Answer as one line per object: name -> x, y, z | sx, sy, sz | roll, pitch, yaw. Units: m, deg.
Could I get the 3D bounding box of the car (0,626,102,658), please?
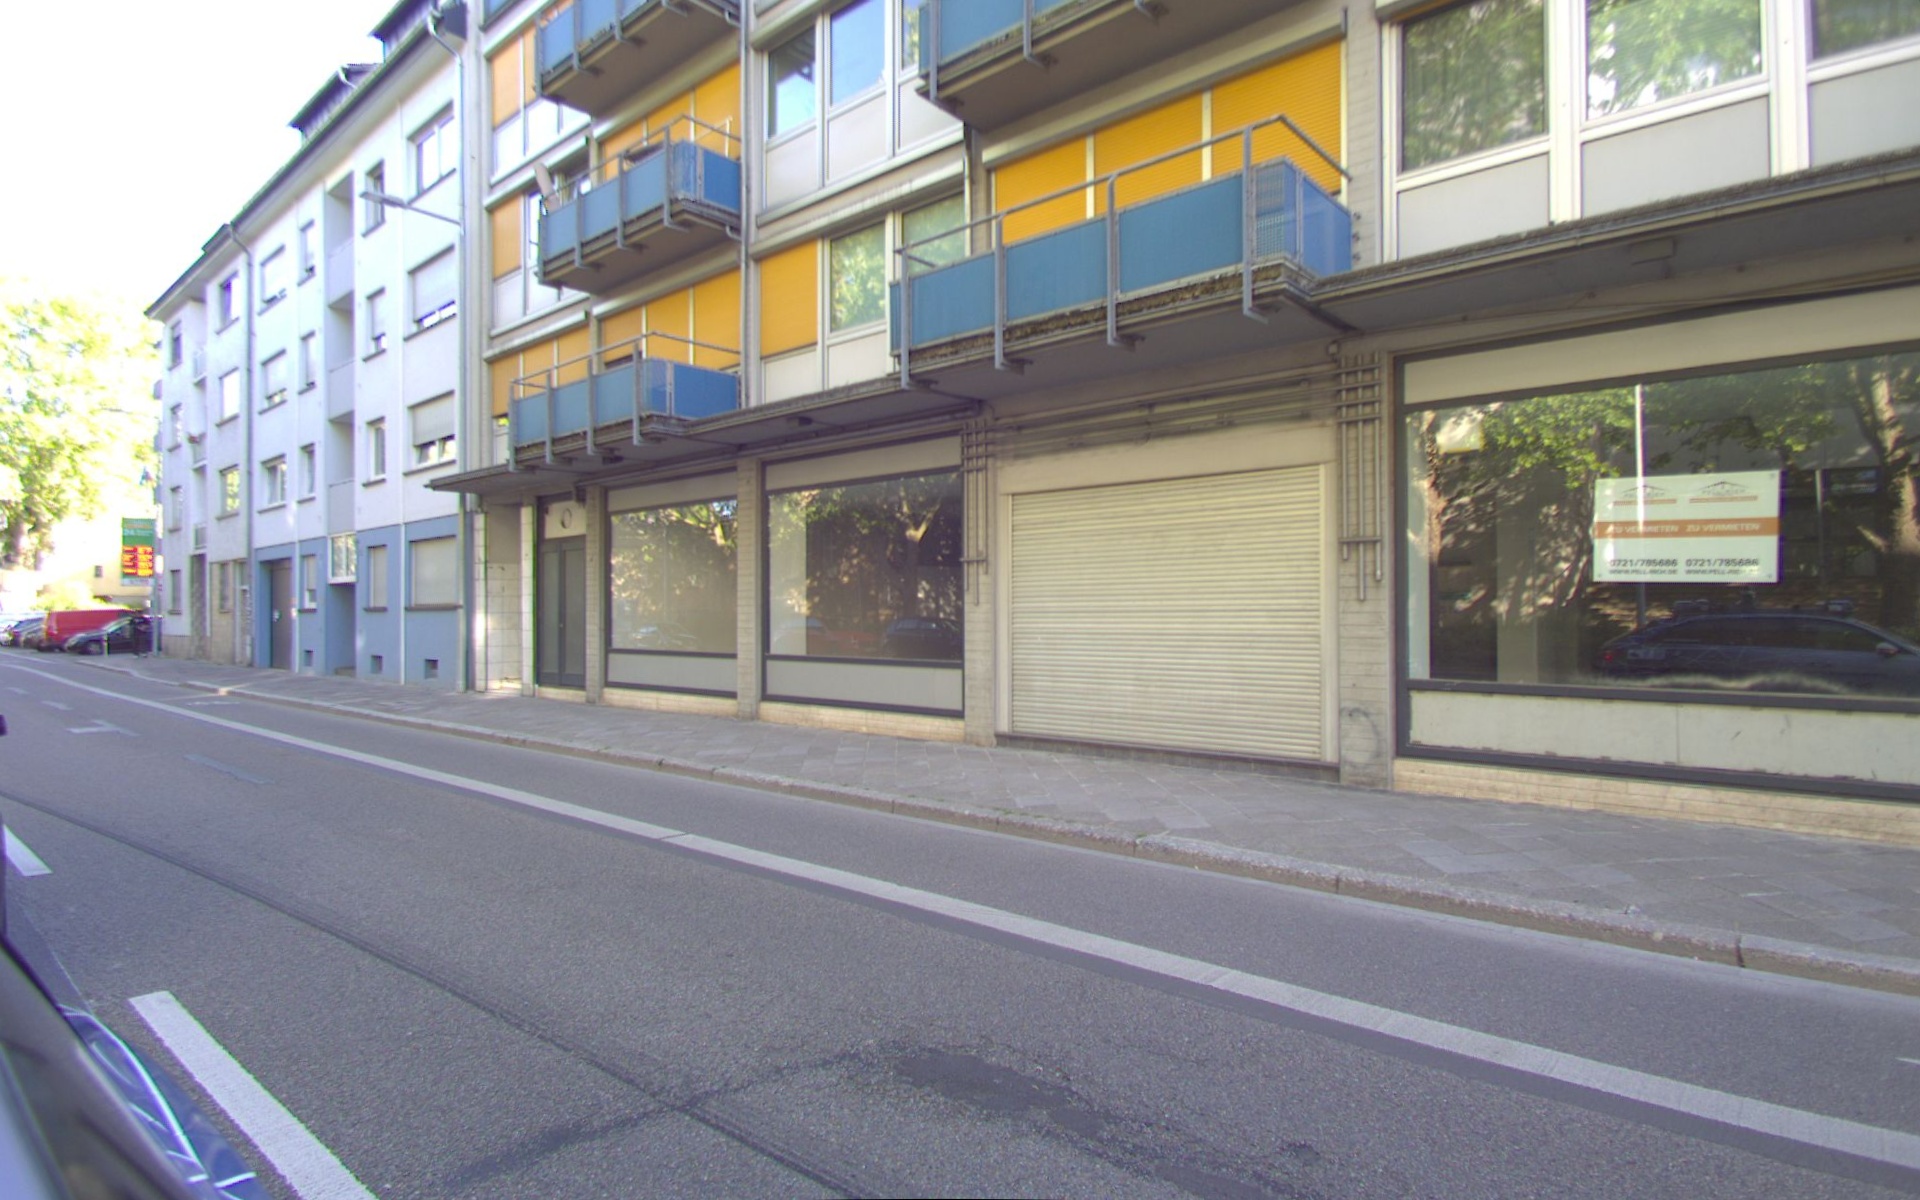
car -> -50.468, 2.299, 56.105 | 1.652, 1.480, 4.201 | -1, 1, 41

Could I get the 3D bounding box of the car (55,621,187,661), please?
car -> -36.497, 1.750, 44.094 | 1.652, 1.411, 4.201 | -1, 1, 41

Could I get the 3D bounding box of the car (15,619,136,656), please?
car -> -42.760, 1.797, 49.015 | 1.652, 1.480, 4.201 | -1, 1, 41

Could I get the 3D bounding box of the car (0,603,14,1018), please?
car -> -5.691, 0.801, 4.448 | 4.300, 1.510, 1.826 | -1, -1, 41

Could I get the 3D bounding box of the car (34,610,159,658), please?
car -> -40.572, 1.565, 47.619 | 1.817, 1.933, 4.202 | -1, 1, 40

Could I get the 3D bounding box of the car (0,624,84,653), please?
car -> -55.882, 2.306, 61.197 | 1.652, 1.480, 4.201 | -1, 1, 41

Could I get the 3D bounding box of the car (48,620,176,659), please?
car -> -38.190, 1.737, 45.657 | 1.652, 1.480, 4.201 | -1, 1, 41

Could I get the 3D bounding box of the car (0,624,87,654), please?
car -> -54.501, 2.285, 59.789 | 1.652, 1.480, 4.201 | -1, 1, 41

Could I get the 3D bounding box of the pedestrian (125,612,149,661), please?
pedestrian -> -29.068, 1.281, 35.739 | 0.603, 1.708, 0.656 | 0, -1, -43
